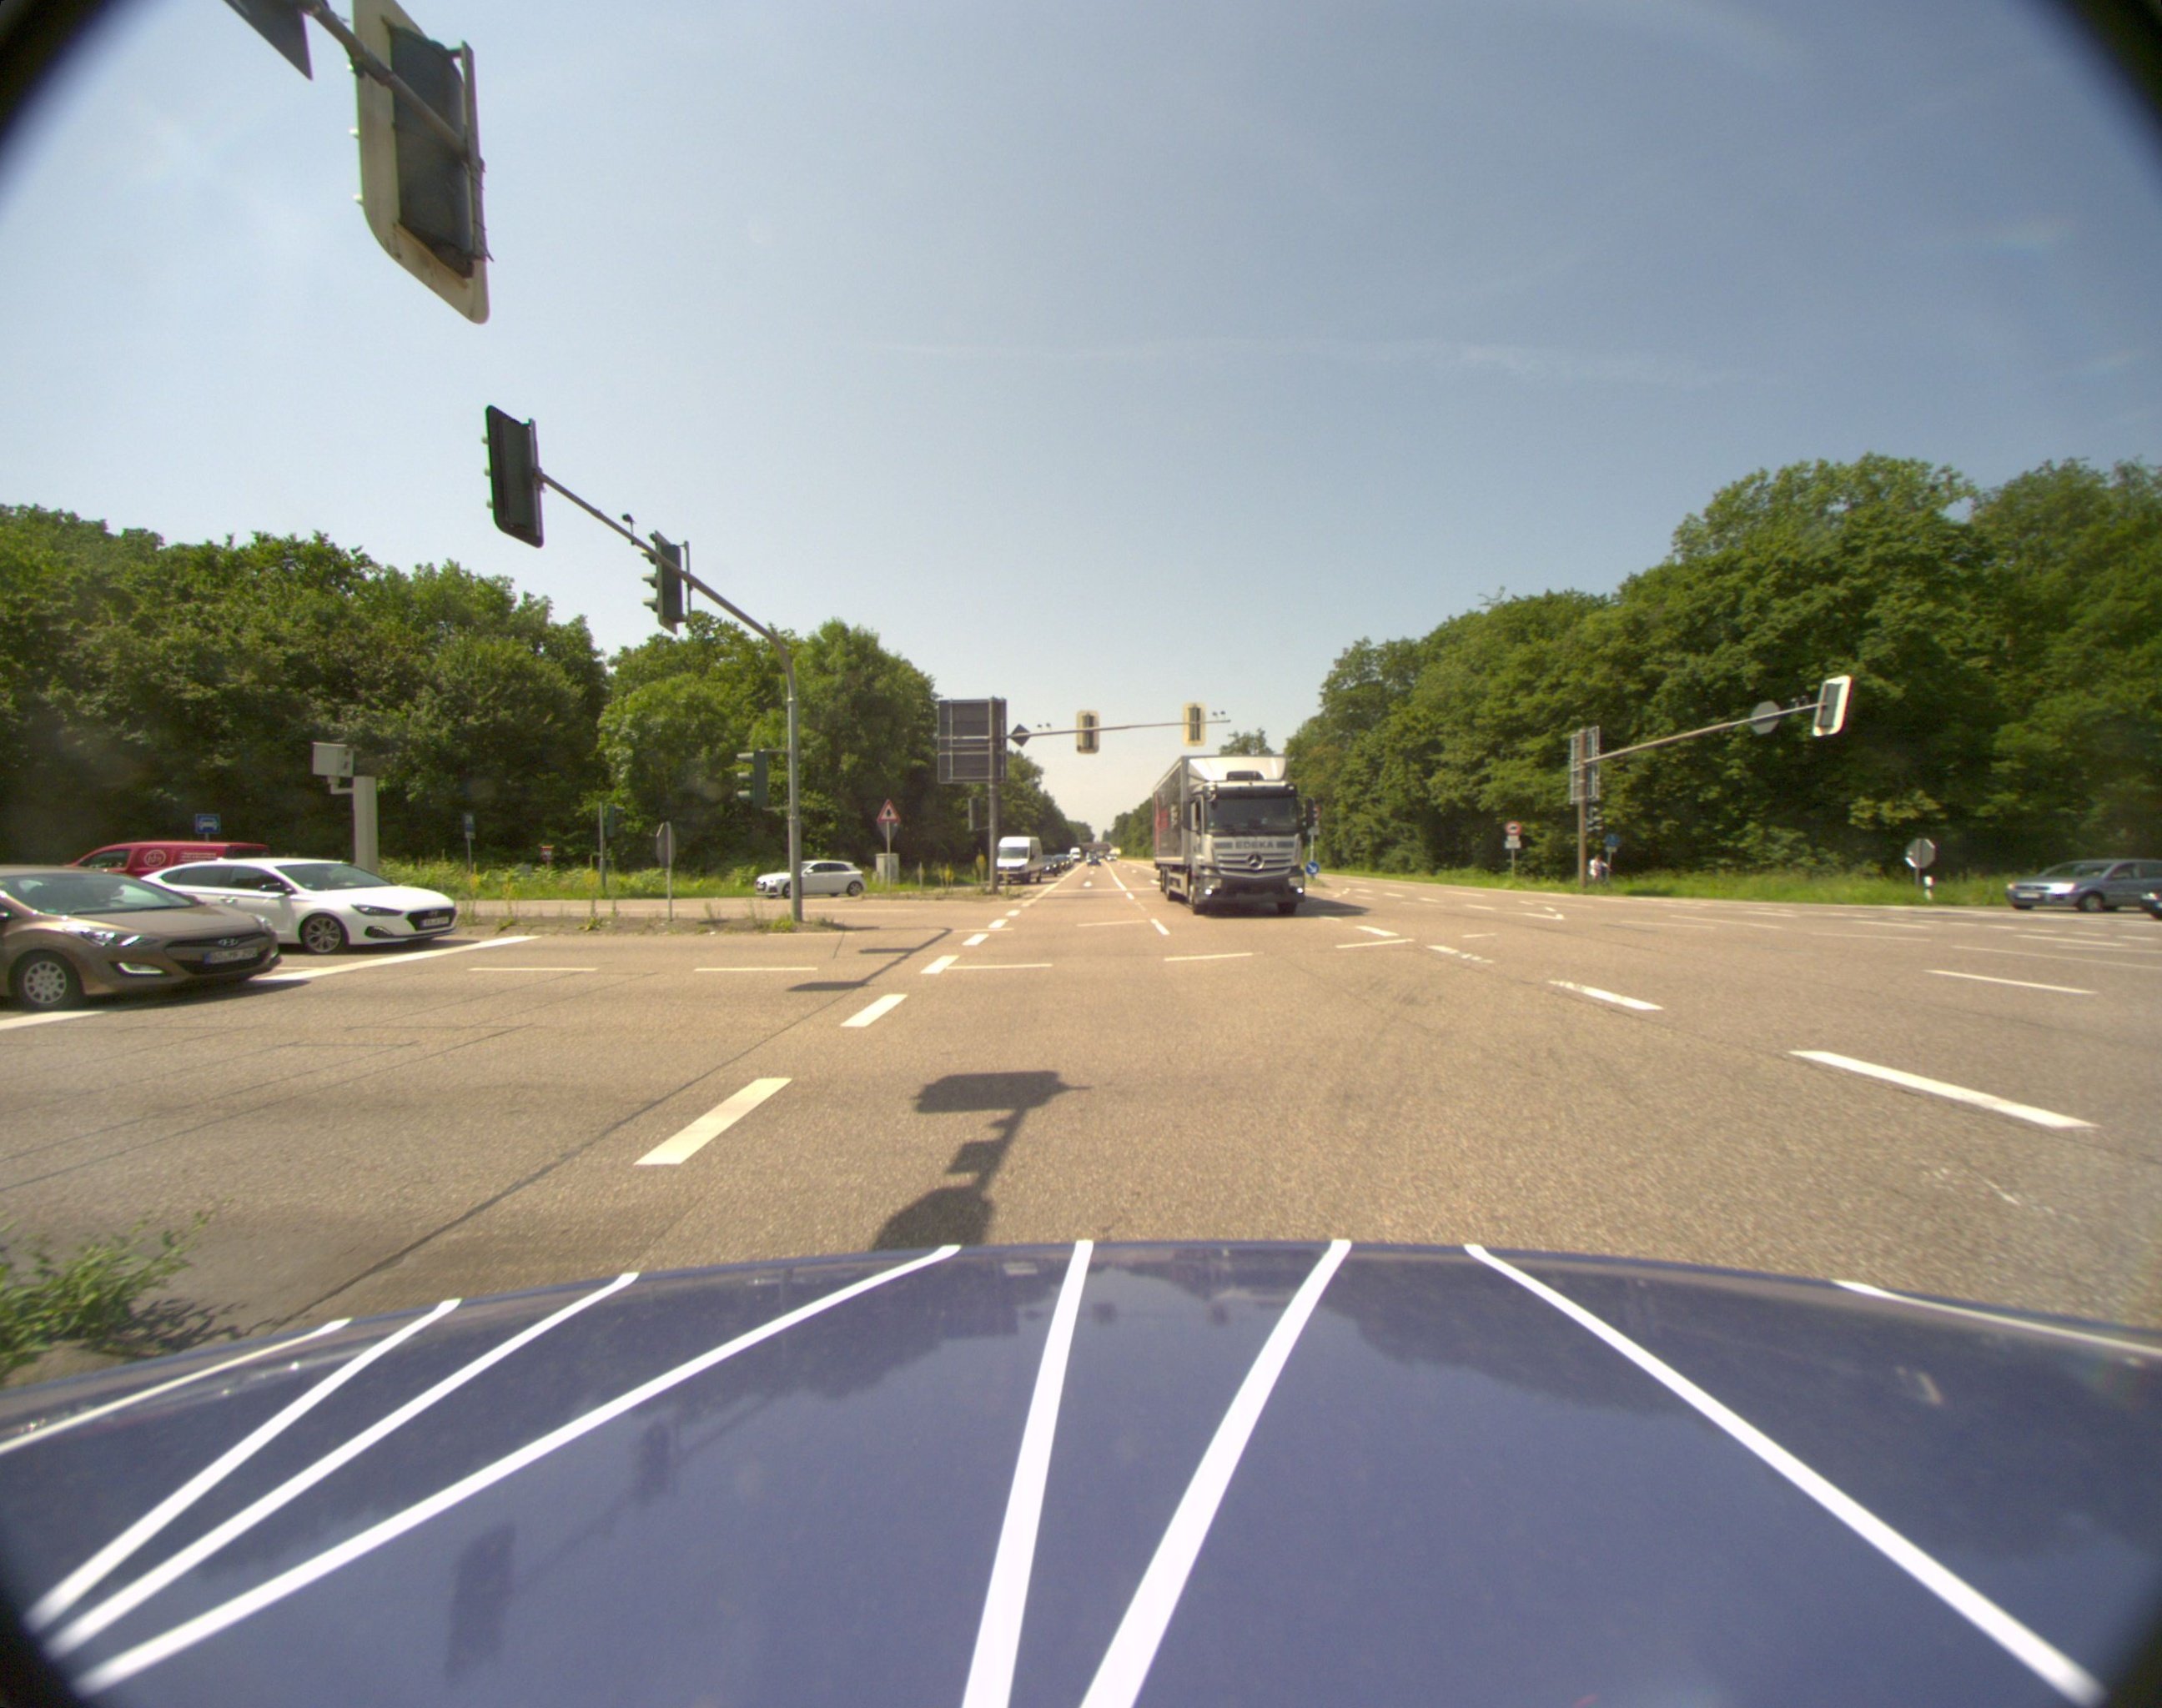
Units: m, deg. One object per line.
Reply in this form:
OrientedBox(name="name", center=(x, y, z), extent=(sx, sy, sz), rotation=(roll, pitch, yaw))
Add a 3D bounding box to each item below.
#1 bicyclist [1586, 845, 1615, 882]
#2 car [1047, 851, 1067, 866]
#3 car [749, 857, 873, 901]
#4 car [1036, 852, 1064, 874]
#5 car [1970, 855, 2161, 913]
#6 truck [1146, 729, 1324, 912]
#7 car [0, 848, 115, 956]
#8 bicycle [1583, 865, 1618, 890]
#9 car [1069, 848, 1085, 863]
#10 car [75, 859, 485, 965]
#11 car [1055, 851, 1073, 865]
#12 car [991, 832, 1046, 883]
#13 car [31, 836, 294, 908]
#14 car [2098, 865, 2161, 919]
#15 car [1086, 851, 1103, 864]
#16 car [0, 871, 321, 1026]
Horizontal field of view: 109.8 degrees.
OrientedBox(name="bicyclist", center=(20.886, 0.372, 30.568), extent=(0.660, 1.456, 0.810), rotation=(0, 1, 10))
OrientedBox(name="car", center=(-2.283, 0.409, 73.855), extent=(1.796, 1.431, 4.228), rotation=(-1, 1, 0))
OrientedBox(name="car", center=(-10.145, 0.905, 28.739), extent=(1.690, 1.427, 4.008), rotation=(-2, 1, 43))
OrientedBox(name="car", center=(-2.228, 0.650, 55.557), extent=(1.796, 1.452, 4.228), rotation=(-2, 1, 0))
OrientedBox(name="car", center=(29.428, 0.835, 21.978), extent=(4.817, 1.558, 2.129), rotation=(0, 1, 1))
OrientedBox(name="truck", center=(3.809, -0.769, 21.991), extent=(2.753, 3.862, 11.319), rotation=(-2, 1, 0))
OrientedBox(name="car", center=(-18.706, 0.735, 12.078), extent=(4.182, 1.650, 2.000), rotation=(0, 1, 1))
OrientedBox(name="bicycle", center=(20.874, 0.929, 30.542), extent=(0.566, 0.918, 1.606), rotation=(0, 1, 11))
OrientedBox(name="car", center=(-0.772, 0.252, 147.163), extent=(2.673, 2.685, 6.330), rotation=(0, 0, 3))
OrientedBox(name="car", center=(-12.604, 0.871, 12.225), extent=(4.431, 1.526, 2.000), rotation=(0, 1, 0))
OrientedBox(name="car", center=(-1.819, 0.409, 81.513), extent=(1.796, 1.431, 4.228), rotation=(-1, 1, 0))
OrientedBox(name="car", center=(-3.363, 0.168, 42.496), extent=(1.974, 2.630, 6.062), rotation=(-2, 0, 5))
OrientedBox(name="car", center=(-25.714, 0.476, 21.476), extent=(4.498, 1.812, 1.795), rotation=(-1, 0, -15))
OrientedBox(name="car", center=(28.182, 0.926, 18.149), extent=(4.816, 1.283, 2.105), rotation=(0, 1, 2))
OrientedBox(name="car", center=(1.680, 0.403, 95.855), extent=(1.992, 1.575, 4.364), rotation=(-1, 1, 0))
OrientedBox(name="car", center=(-11.430, 0.943, 8.352), extent=(4.102, 1.438, 1.995), rotation=(0, 1, -1))
